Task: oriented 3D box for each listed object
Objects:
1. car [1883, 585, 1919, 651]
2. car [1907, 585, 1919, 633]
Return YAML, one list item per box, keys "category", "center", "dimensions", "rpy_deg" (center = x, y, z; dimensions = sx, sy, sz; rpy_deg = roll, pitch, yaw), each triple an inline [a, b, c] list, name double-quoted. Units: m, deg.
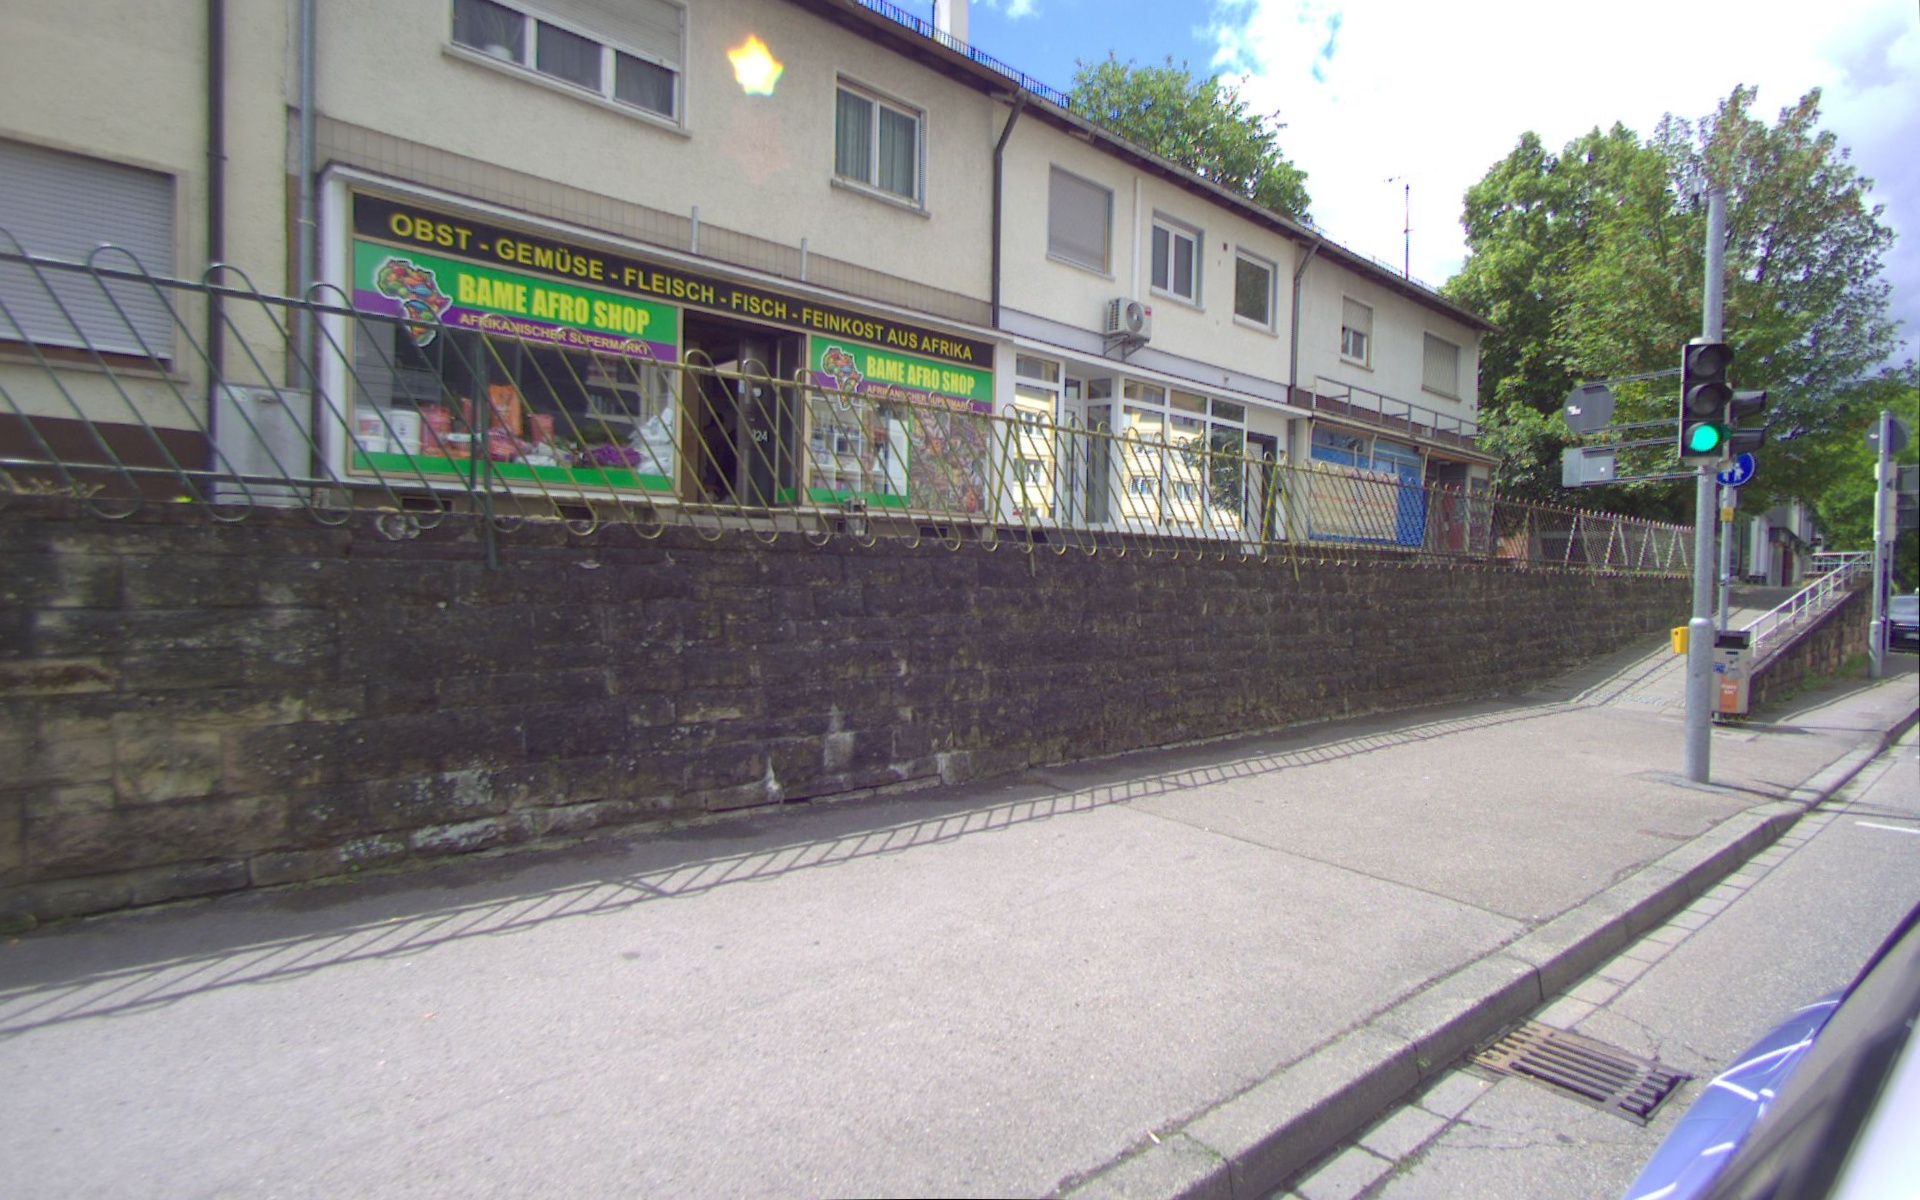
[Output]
- category: "car"
  center: [25.181, 0.441, 26.150]
  dimensions: [3.957, 1.599, 1.756]
  rpy_deg: [-1, 3, -45]
- category: "car"
  center: [33.790, 0.339, 34.700]
  dimensions: [4.107, 1.587, 1.757]
  rpy_deg: [0, 3, -45]
